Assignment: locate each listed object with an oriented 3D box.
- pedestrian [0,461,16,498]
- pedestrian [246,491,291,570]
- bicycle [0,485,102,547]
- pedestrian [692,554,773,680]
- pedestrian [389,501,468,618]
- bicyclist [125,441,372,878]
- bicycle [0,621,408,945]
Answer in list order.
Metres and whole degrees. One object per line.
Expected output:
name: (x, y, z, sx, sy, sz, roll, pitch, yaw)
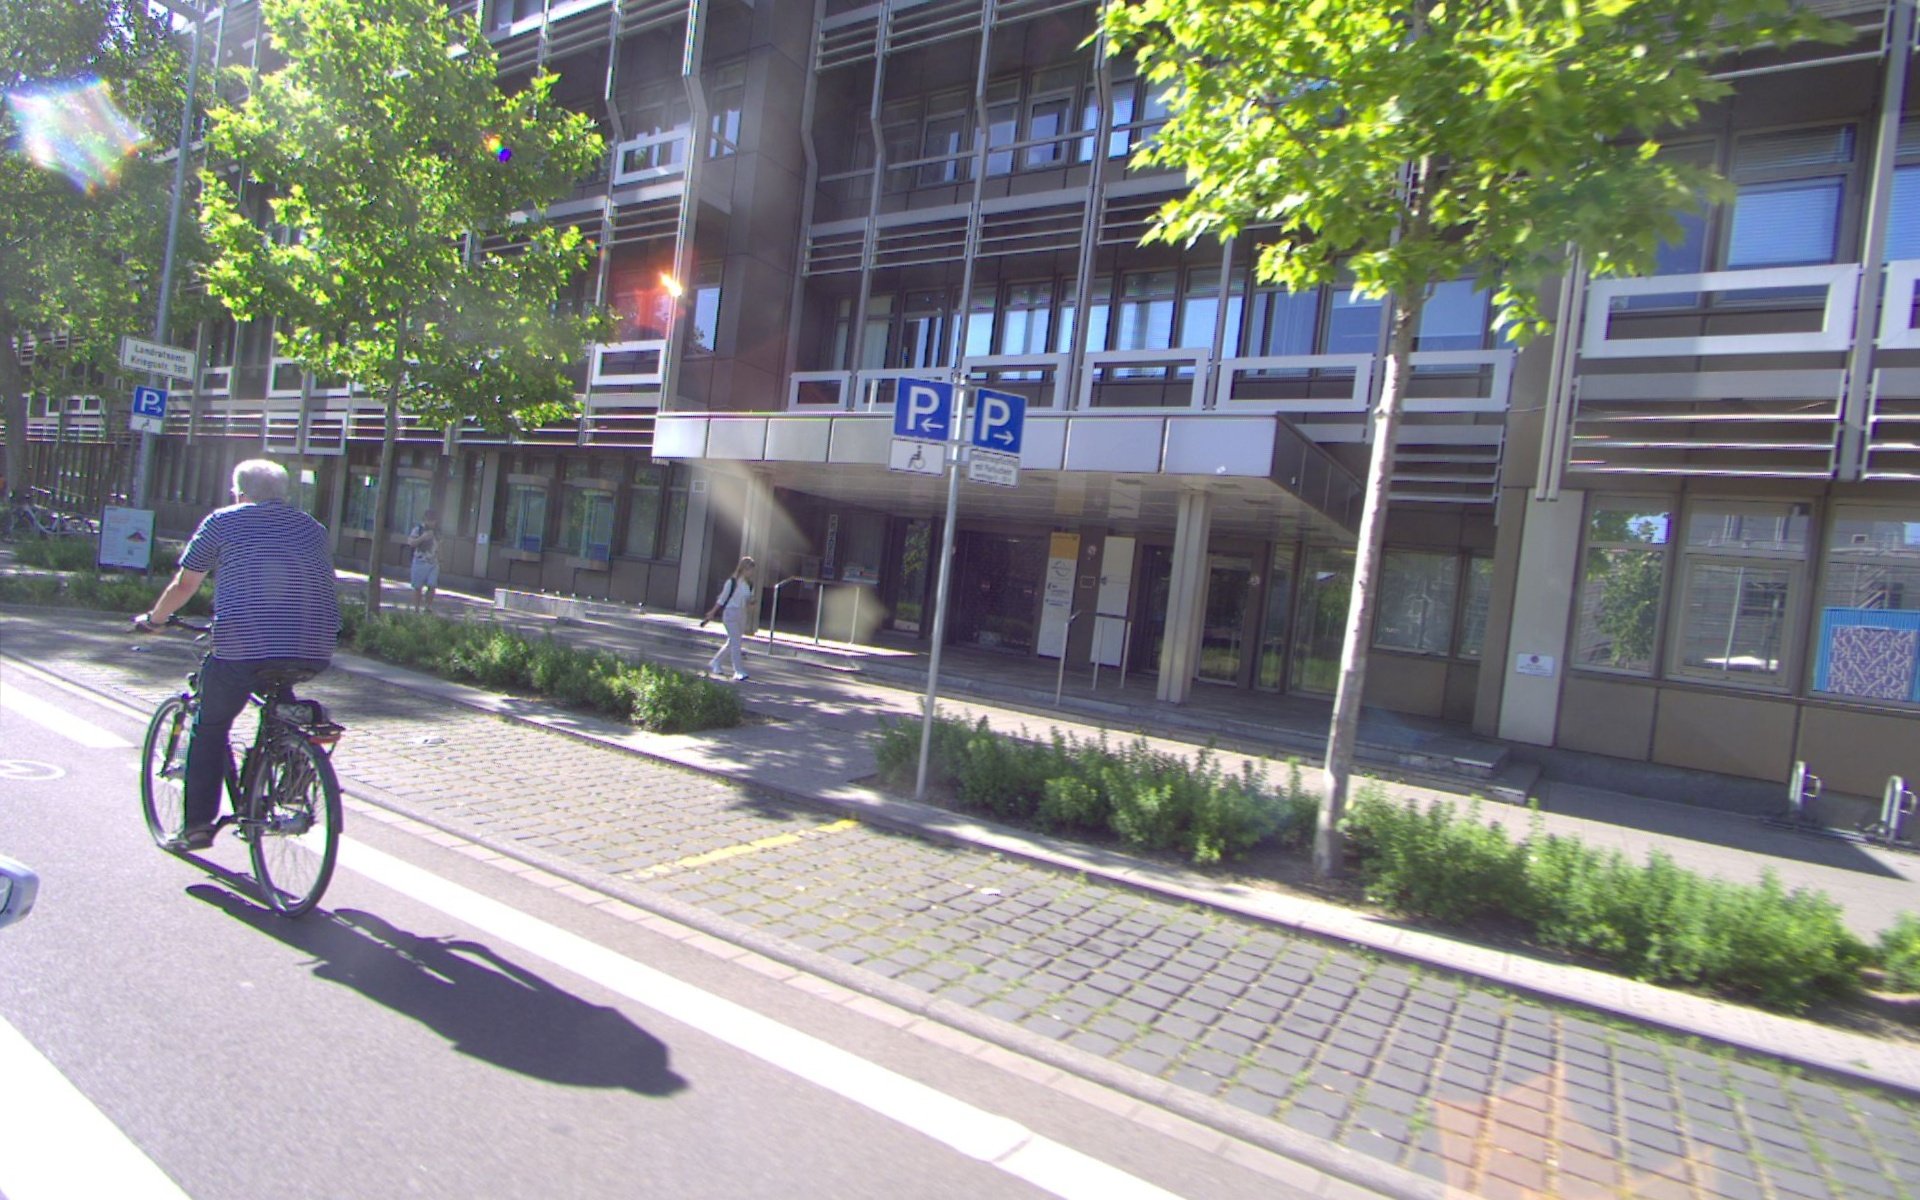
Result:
pedestrian: (-44.083, -5.581, 46.419, 0.564, 1.623, 0.553, 8, 1, 34)
pedestrian: (-15.888, -1.597, 23.101, 0.761, 1.724, 0.510, 8, 3, 33)
bicycle: (-21.415, -1.956, 23.523, 0.569, 1.253, 1.937, 8, 3, 31)
pedestrian: (-2.870, 0.216, 12.706, 0.724, 1.494, 0.511, 8, 3, 33)
pedestrian: (-8.484, -0.642, 16.056, 0.790, 1.749, 0.648, 8, 1, 33)
bicyclist: (-2.885, 0.219, 4.092, 0.527, 1.621, 0.513, 7, 1, 29)
bicycle: (-3.302, 0.683, 4.307, 2.159, 0.916, 0.499, 7, -1, 30)
